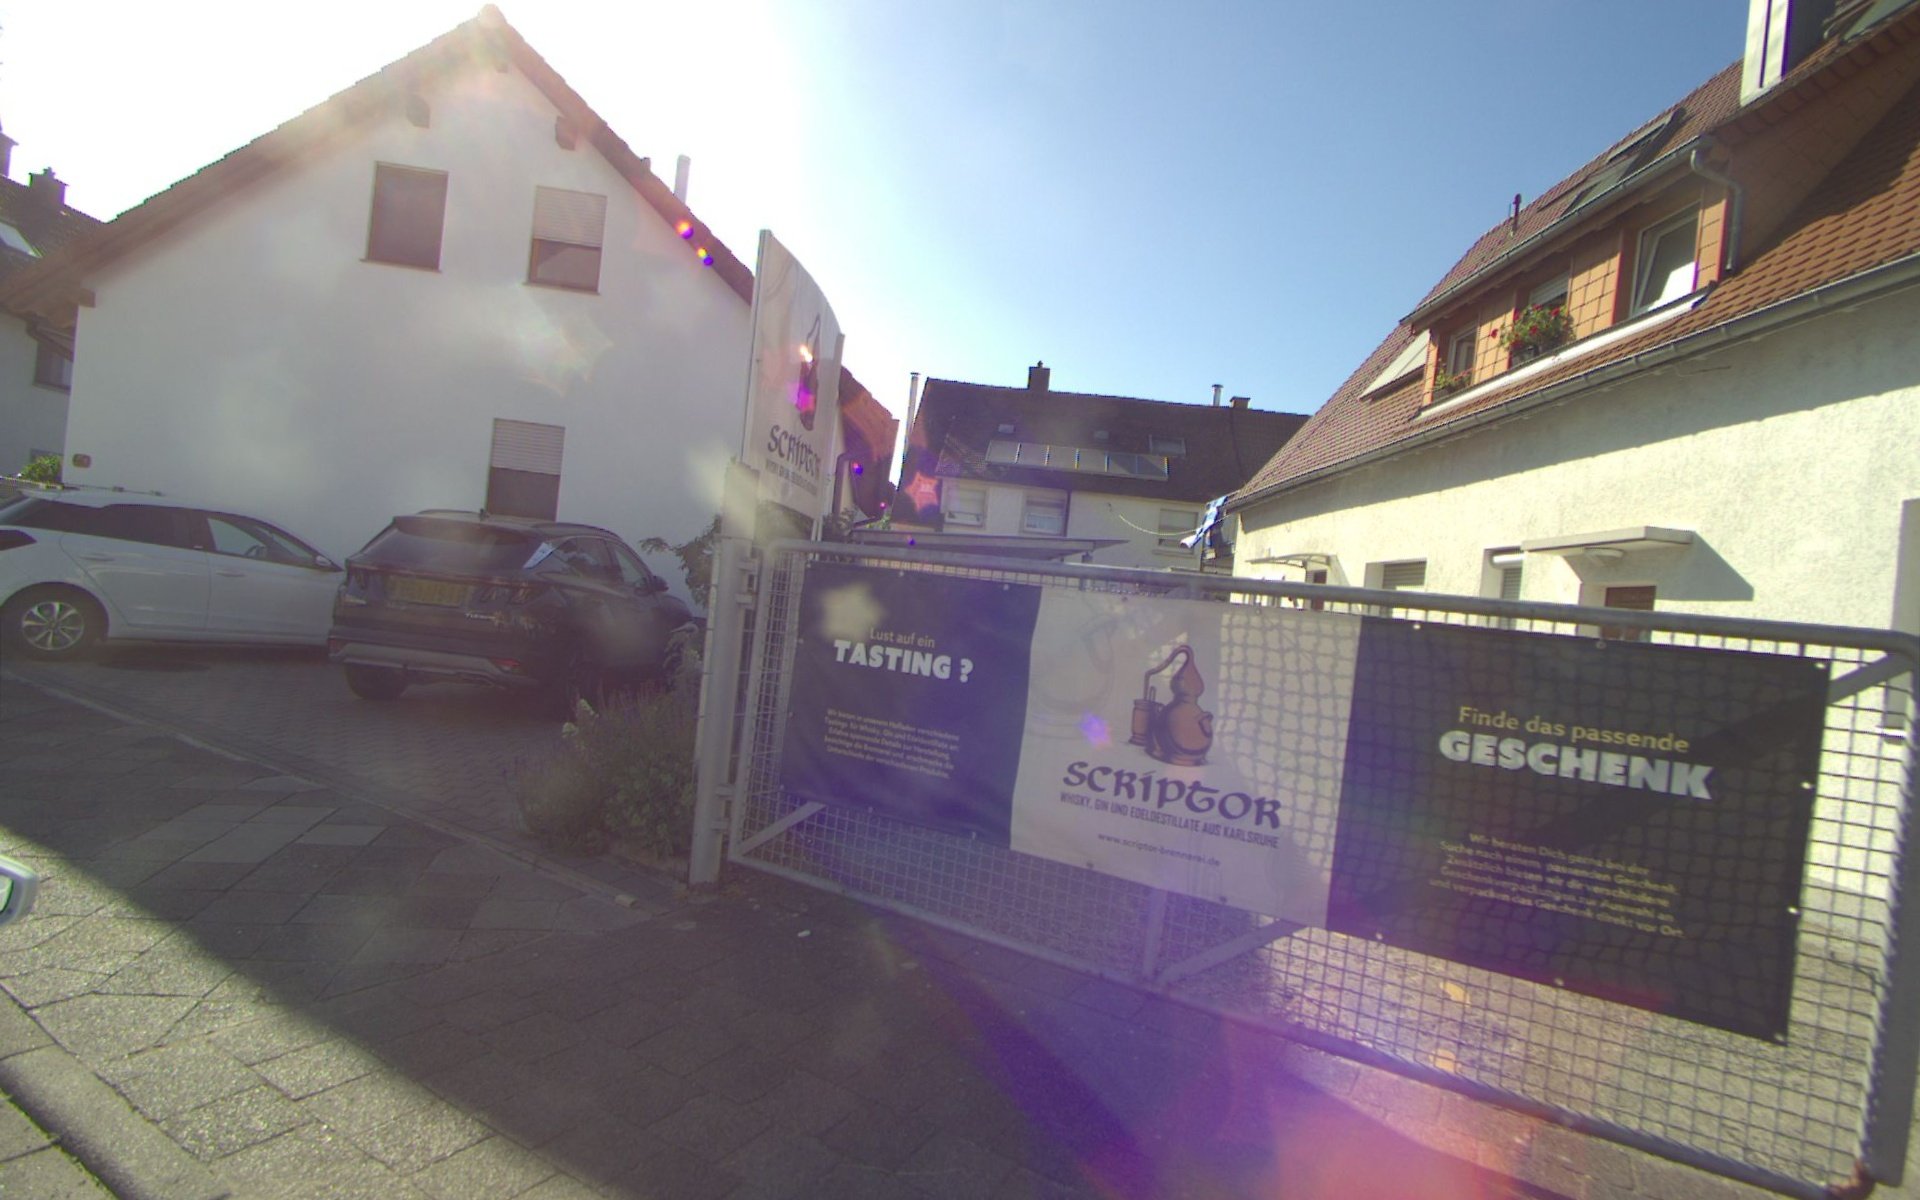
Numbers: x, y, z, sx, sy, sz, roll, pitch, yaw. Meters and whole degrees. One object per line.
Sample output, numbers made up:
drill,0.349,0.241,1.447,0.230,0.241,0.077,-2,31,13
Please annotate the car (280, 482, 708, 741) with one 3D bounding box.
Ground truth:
car,-3.977,0.078,9.491,1.876,1.710,4.048,7,1,2

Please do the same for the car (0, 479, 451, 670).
car,-7.500,-0.192,9.981,1.820,1.511,3.908,7,1,39

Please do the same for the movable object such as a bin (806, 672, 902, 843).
movable object such as a bin,-0.628,0.929,6.075,0.415,0.933,0.517,6,-2,1
